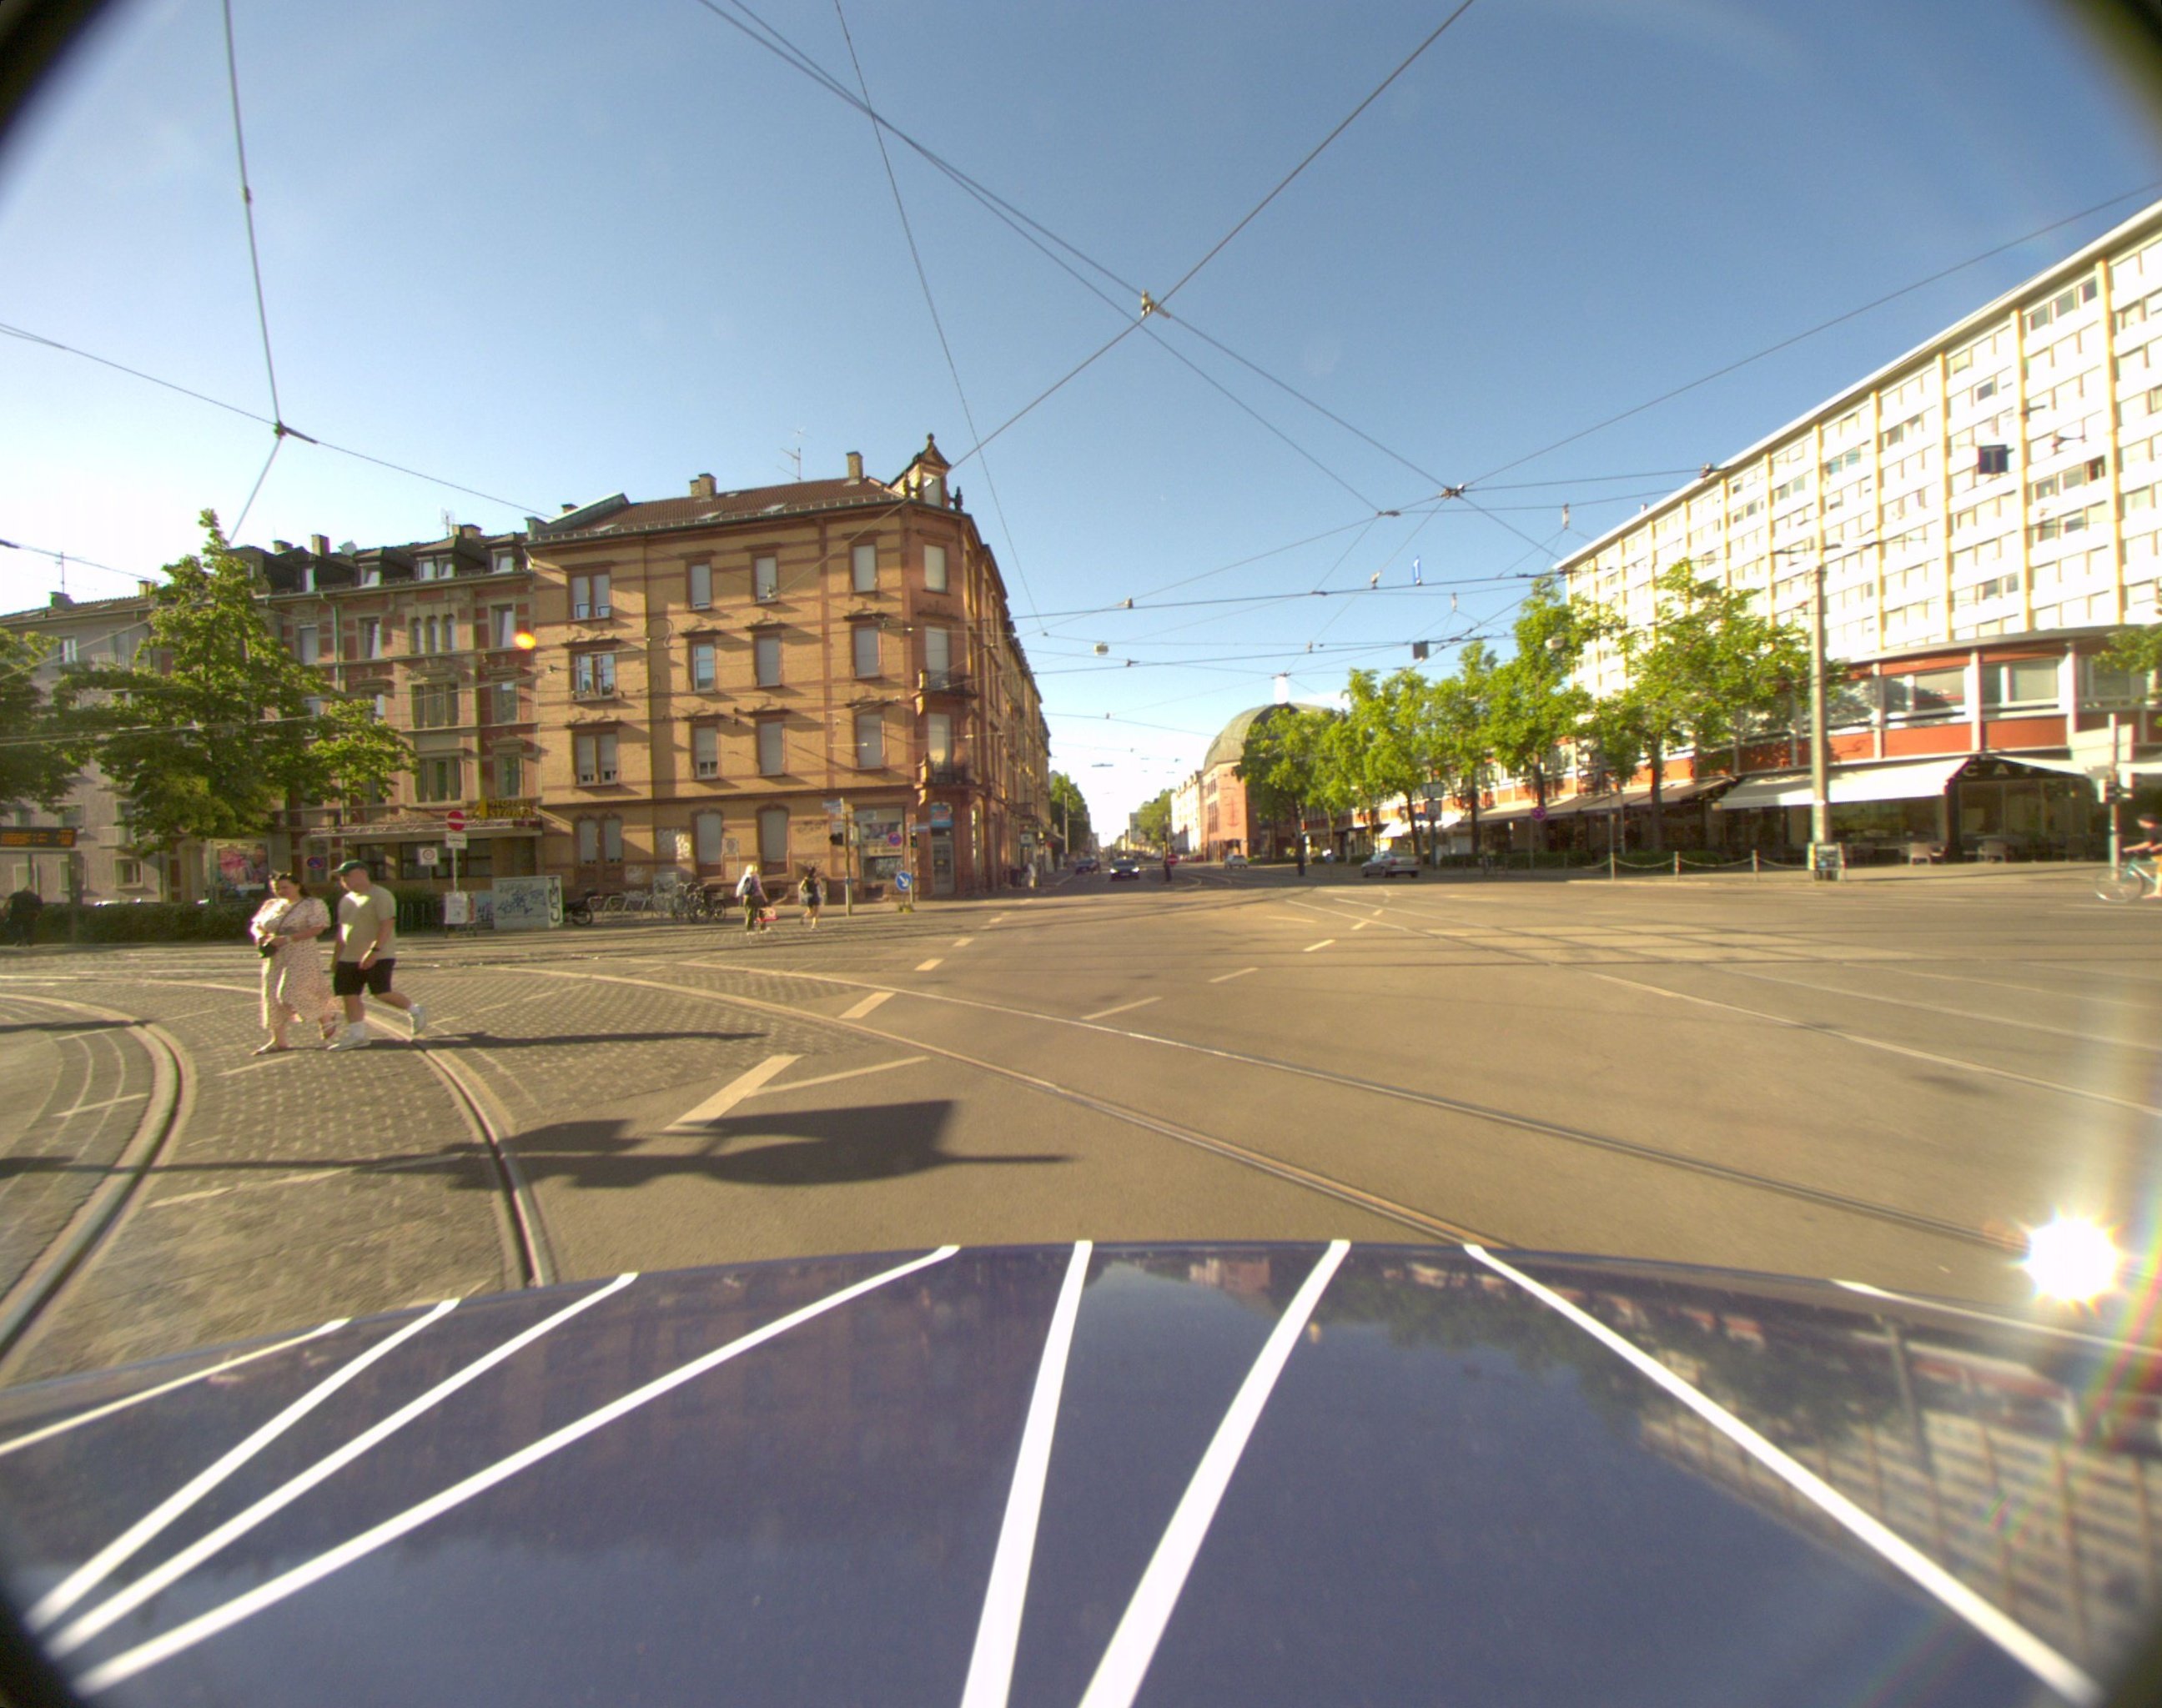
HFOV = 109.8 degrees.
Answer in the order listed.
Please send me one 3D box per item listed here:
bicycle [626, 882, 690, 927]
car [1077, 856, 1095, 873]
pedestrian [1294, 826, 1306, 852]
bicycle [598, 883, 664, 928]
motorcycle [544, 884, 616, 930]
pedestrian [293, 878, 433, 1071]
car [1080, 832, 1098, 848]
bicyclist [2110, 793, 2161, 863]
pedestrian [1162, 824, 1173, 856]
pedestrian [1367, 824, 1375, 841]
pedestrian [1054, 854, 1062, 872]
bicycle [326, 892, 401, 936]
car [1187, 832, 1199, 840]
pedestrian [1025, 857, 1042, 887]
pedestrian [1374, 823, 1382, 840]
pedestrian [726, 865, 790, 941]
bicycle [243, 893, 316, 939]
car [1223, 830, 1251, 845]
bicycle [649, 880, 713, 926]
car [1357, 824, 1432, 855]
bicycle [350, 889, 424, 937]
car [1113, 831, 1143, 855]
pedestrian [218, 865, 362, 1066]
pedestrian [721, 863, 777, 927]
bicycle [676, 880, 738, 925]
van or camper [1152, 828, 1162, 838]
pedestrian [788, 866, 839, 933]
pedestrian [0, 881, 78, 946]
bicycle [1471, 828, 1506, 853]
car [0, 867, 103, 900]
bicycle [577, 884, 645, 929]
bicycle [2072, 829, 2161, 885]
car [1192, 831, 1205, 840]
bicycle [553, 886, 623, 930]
[{"bbox_3d":[-13.202,1.547,23.806,0.650,1.203,2.311,-1,1,0],"label":"bicycle"},{"bbox_3d":[0.533,0.996,76.307,1.694,1.443,4.358,-3,2,2],"label":"car"},{"bbox_3d":[12.732,-0.856,44.188,0.501,1.509,0.859,0,2,2],"label":"pedestrian"},{"bbox_3d":[-14.010,1.579,23.753,0.650,1.203,2.311,-1,1,0],"label":"bicycle"},{"bbox_3d":[-16.558,1.714,25.137,1.948,1.396,0.864,-1,0,-34],"label":"motorcycle"},{"bbox_3d":[-6.665,1.076,7.069,0.701,1.646,0.632,0,4,24],"label":"pedestrian"},{"bbox_3d":[0.983,-1.638,88.879,1.694,1.704,4.615,-3,2,5],"label":"car"},{"bbox_3d":[19.948,-0.490,14.023,0.590,1.278,0.926,-1,3,3],"label":"bicyclist"},{"bbox_3d":[4.845,-0.789,42.536,0.559,1.754,0.895,0,2,2],"label":"pedestrian"},{"bbox_3d":[29.592,-2.217,77.545,0.573,1.762,0.706,-1,2,3],"label":"pedestrian"},{"bbox_3d":[-2.580,1.041,86.531,0.685,1.901,1.063,-3,3,5],"label":"pedestrian"},{"bbox_3d":[-21.632,1.792,22.969,0.651,1.122,2.037,-2,1,-12],"label":"bicycle"},{"bbox_3d":[22.421,-3.666,151.767,1.855,1.446,3.852,-2,2,2],"label":"car"},{"bbox_3d":[-2.546,0.957,40.857,0.684,1.598,0.729,-2,3,-19],"label":"pedestrian"},{"bbox_3d":[30.324,-2.265,77.543,0.573,1.741,0.706,-1,2,3],"label":"pedestrian"},{"bbox_3d":[-7.461,1.113,17.571,0.922,1.623,0.943,1,4,34],"label":"pedestrian"},{"bbox_3d":[-22.816,1.734,21.686,0.651,1.122,2.036,-2,1,-23],"label":"bicycle"},{"bbox_3d":[16.126,-1.693,78.734,1.998,1.443,4.500,-1,2,1],"label":"car"},{"bbox_3d":[-12.430,1.497,23.706,0.753,1.203,2.311,-1,2,0],"label":"bicycle"},{"bbox_3d":[16.048,-0.770,39.166,1.998,1.443,4.648,-1,2,1],"label":"car"},{"bbox_3d":[-20.857,1.748,22.900,0.651,1.203,2.037,-2,3,-12],"label":"bicycle"},{"bbox_3d":[3.159,-0.786,51.462,1.815,1.416,4.152,-3,2,2],"label":"car"},{"bbox_3d":[-7.463,0.999,7.182,0.643,1.736,0.706,-1,4,34],"label":"pedestrian"},{"bbox_3d":[-9.031,1.106,20.724,0.924,1.623,1.009,-1,3,8],"label":"pedestrian"},{"bbox_3d":[-11.606,1.487,23.686,0.753,1.203,2.311,-1,1,0],"label":"bicycle"},{"bbox_3d":[19.939,-5.503,199.776,2.041,2.724,7.019,0,2,2],"label":"van or camper"},{"bbox_3d":[-6.534,1.086,18.585,0.633,1.529,0.943,1,4,34],"label":"pedestrian"},{"bbox_3d":[-28.481,1.604,20.606,1.010,1.623,1.020,-2,4,-15],"label":"pedestrian"},{"bbox_3d":[19.572,-0.673,36.560,0.498,1.180,2.234,-1,2,1],"label":"bicycle"},{"bbox_3d":[-48.767,1.380,35.819,3.761,1.412,1.746,-1,3,12],"label":"car"},{"bbox_3d":[-14.734,1.617,23.897,0.650,1.203,2.311,-1,1,0],"label":"bicycle"},{"bbox_3d":[20.010,0.047,14.201,0.595,0.967,1.817,-1,3,3],"label":"bicycle"},{"bbox_3d":[21.931,-3.456,141.993,1.753,1.446,3.470,-2,2,1],"label":"car"},{"bbox_3d":[-15.467,1.662,23.914,0.650,1.203,2.311,-1,1,0],"label":"bicycle"}]
